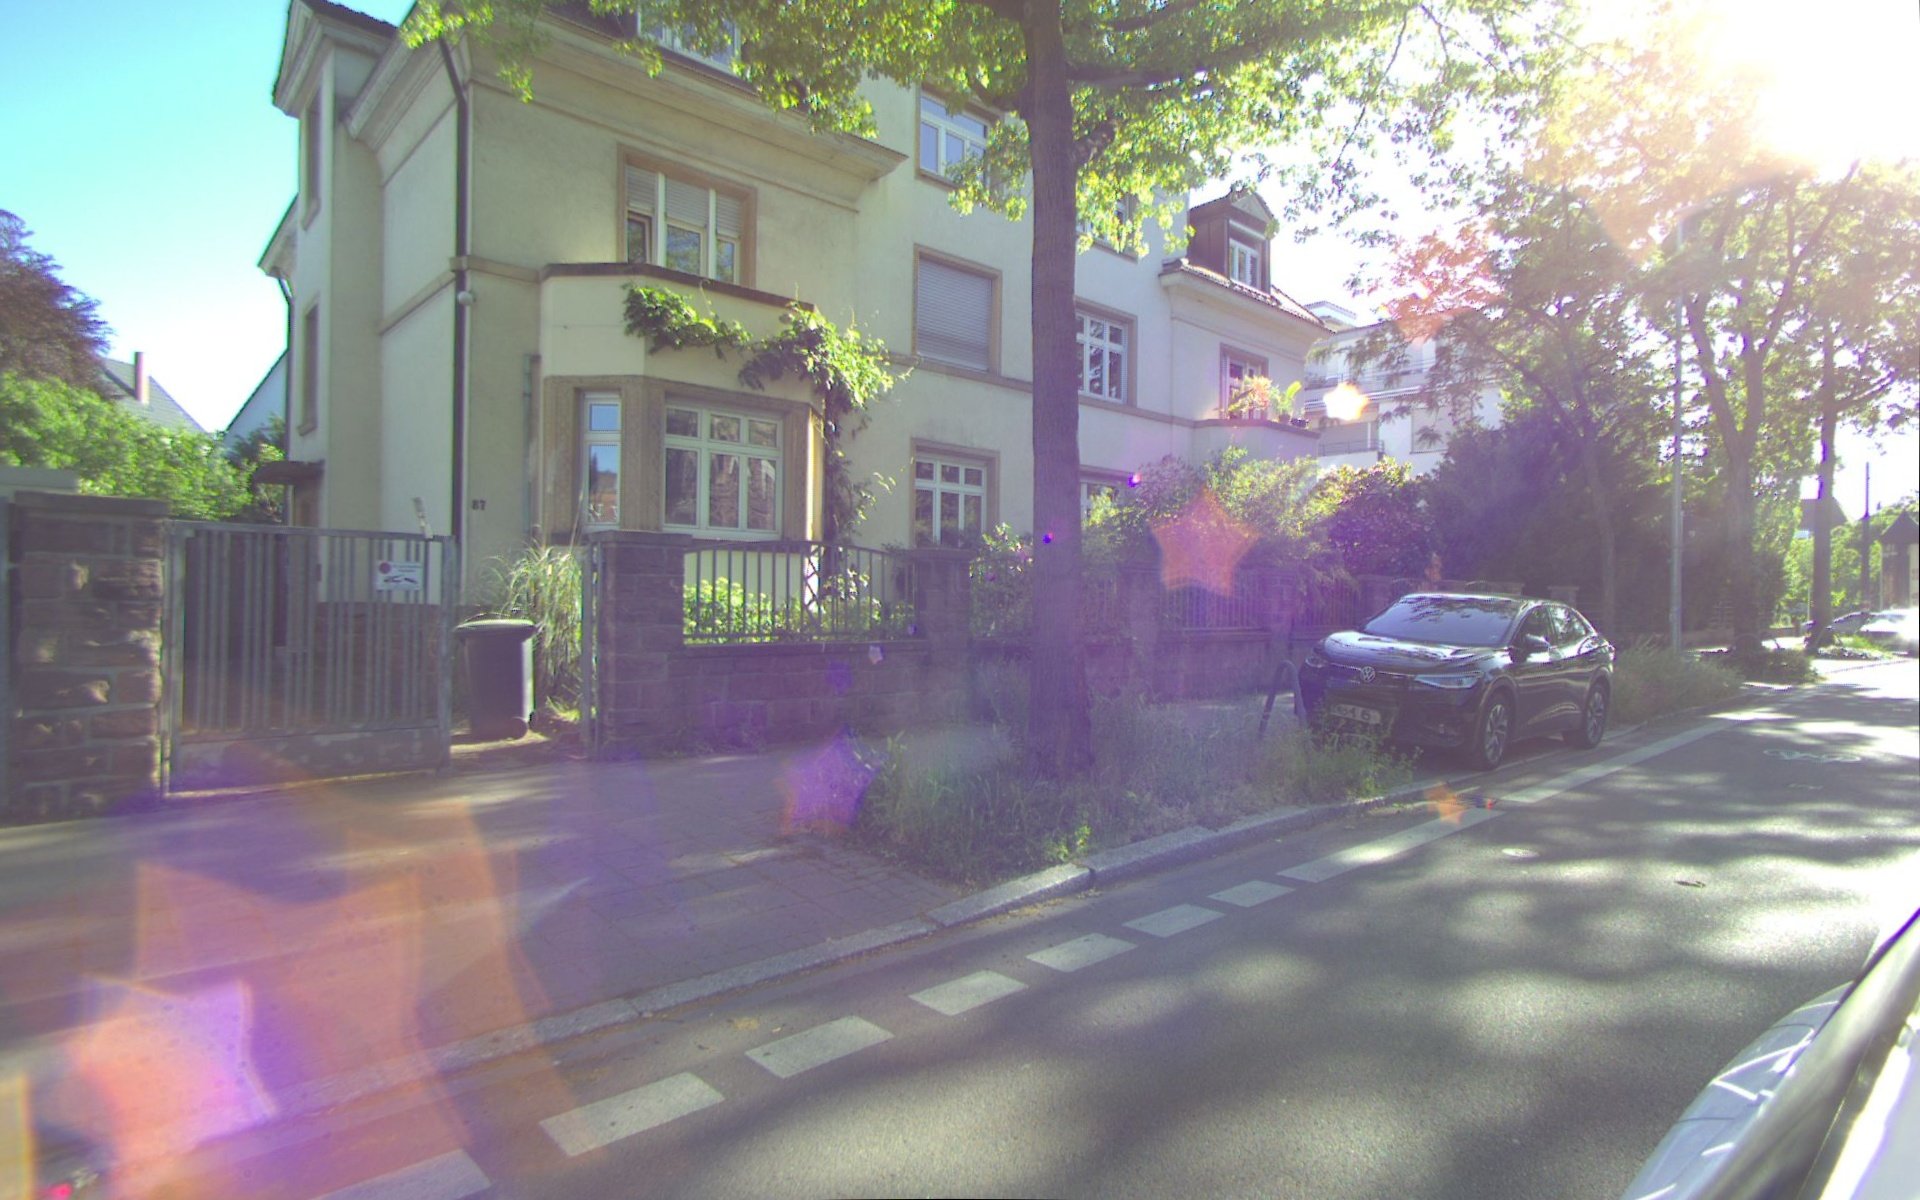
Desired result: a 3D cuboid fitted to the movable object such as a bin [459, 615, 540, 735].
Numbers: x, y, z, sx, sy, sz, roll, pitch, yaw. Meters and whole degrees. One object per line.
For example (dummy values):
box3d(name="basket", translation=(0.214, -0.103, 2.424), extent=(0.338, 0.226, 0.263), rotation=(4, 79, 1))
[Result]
box3d(name="movable object such as a bin", translation=(-4.282, 0.678, 9.447), extent=(0.634, 1.061, 0.659), rotation=(1, 0, -20))

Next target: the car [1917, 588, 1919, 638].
box3d(name="car", translation=(35.789, 0.491, 35.800), extent=(4.663, 1.768, 2.028), rotation=(1, 1, -37))

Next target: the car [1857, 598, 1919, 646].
box3d(name="car", translation=(30.810, 0.675, 32.650), extent=(4.252, 1.440, 1.999), rotation=(0, 1, -37))

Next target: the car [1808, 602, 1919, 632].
box3d(name="car", translation=(46.089, 0.837, 51.238), extent=(1.933, 1.386, 4.521), rotation=(0, 1, -39))

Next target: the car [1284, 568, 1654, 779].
box3d(name="car", translation=(5.591, 0.610, 10.819), extent=(4.645, 1.714, 1.809), rotation=(0, 4, -41))
